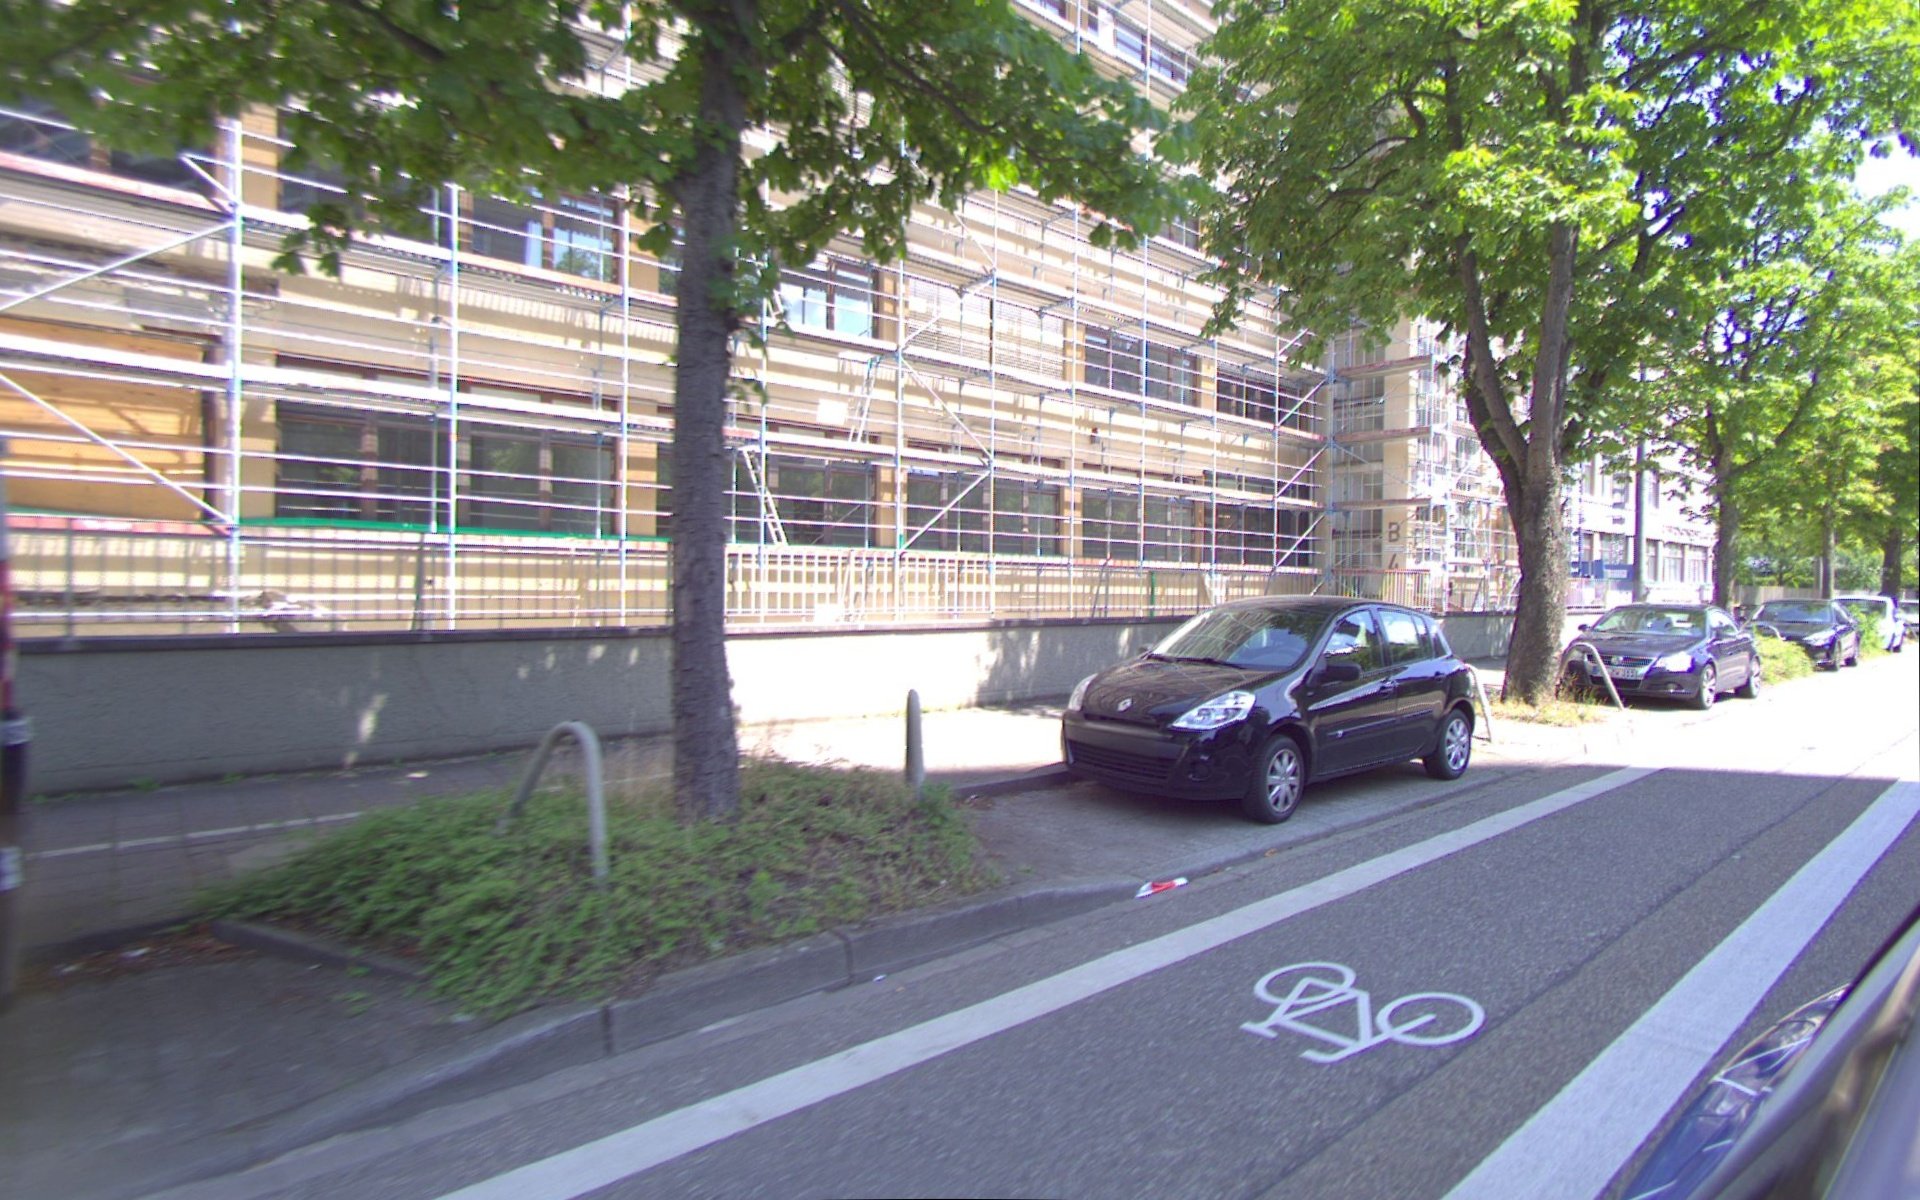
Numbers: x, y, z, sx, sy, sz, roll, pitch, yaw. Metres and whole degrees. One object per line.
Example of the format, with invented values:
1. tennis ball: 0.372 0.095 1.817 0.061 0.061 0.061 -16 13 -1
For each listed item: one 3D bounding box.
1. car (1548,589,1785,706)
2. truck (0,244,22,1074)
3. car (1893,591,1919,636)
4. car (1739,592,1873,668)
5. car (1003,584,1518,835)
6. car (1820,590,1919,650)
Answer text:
1. car: 10.637 0.599 15.118 4.406 1.490 1.828 0 1 -40
2. truck: -5.249 0.232 1.300 5.853 2.520 2.017 0 1 -42
3. car: 34.772 0.469 36.327 4.294 1.518 1.672 0 1 -44
4. car: 18.193 0.581 21.710 3.972 1.456 1.674 0 1 -42
5. car: 2.568 0.641 8.102 4.320 1.490 1.829 0 1 -39
6. car: 25.448 0.511 28.254 4.129 1.537 1.674 0 1 -42
